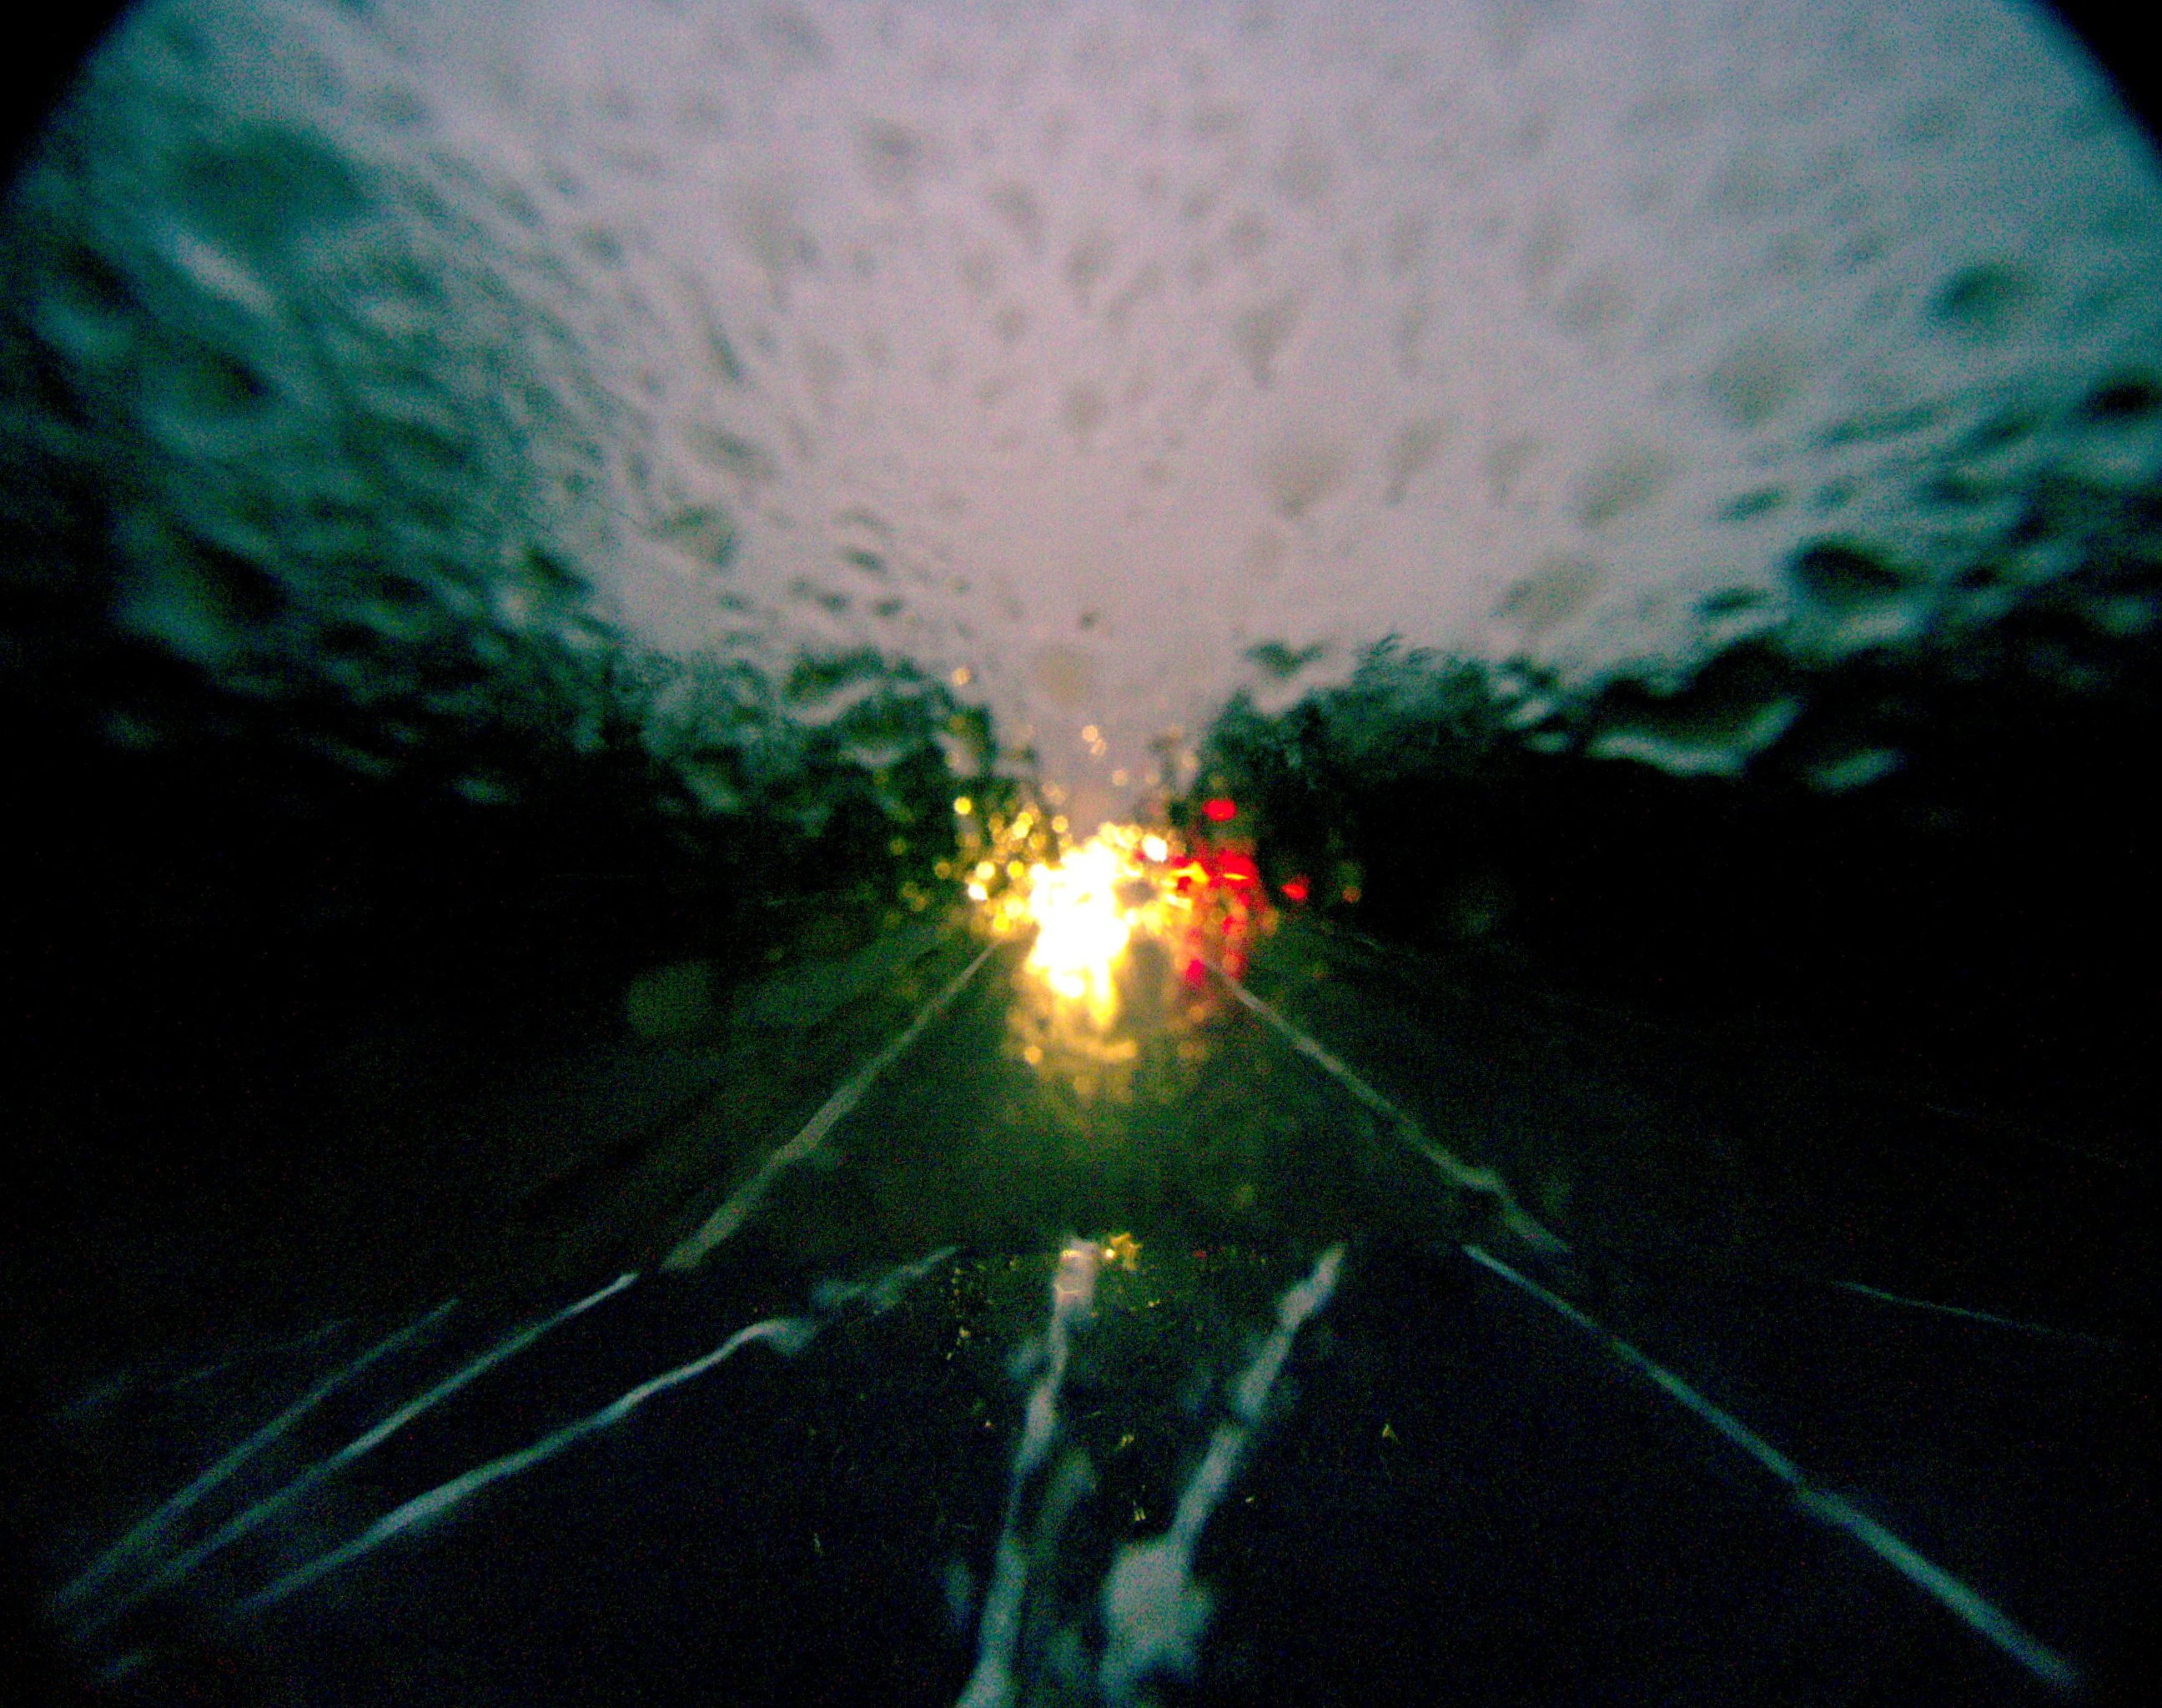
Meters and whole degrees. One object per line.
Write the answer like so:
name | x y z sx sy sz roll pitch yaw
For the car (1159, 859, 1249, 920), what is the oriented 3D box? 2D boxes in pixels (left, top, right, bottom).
car | 3.261 0.902 20.933 1.809 1.478 4.000 1 0 0

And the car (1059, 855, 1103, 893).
car | 0.009 0.854 34.520 1.860 1.604 4.000 -1 0 0
